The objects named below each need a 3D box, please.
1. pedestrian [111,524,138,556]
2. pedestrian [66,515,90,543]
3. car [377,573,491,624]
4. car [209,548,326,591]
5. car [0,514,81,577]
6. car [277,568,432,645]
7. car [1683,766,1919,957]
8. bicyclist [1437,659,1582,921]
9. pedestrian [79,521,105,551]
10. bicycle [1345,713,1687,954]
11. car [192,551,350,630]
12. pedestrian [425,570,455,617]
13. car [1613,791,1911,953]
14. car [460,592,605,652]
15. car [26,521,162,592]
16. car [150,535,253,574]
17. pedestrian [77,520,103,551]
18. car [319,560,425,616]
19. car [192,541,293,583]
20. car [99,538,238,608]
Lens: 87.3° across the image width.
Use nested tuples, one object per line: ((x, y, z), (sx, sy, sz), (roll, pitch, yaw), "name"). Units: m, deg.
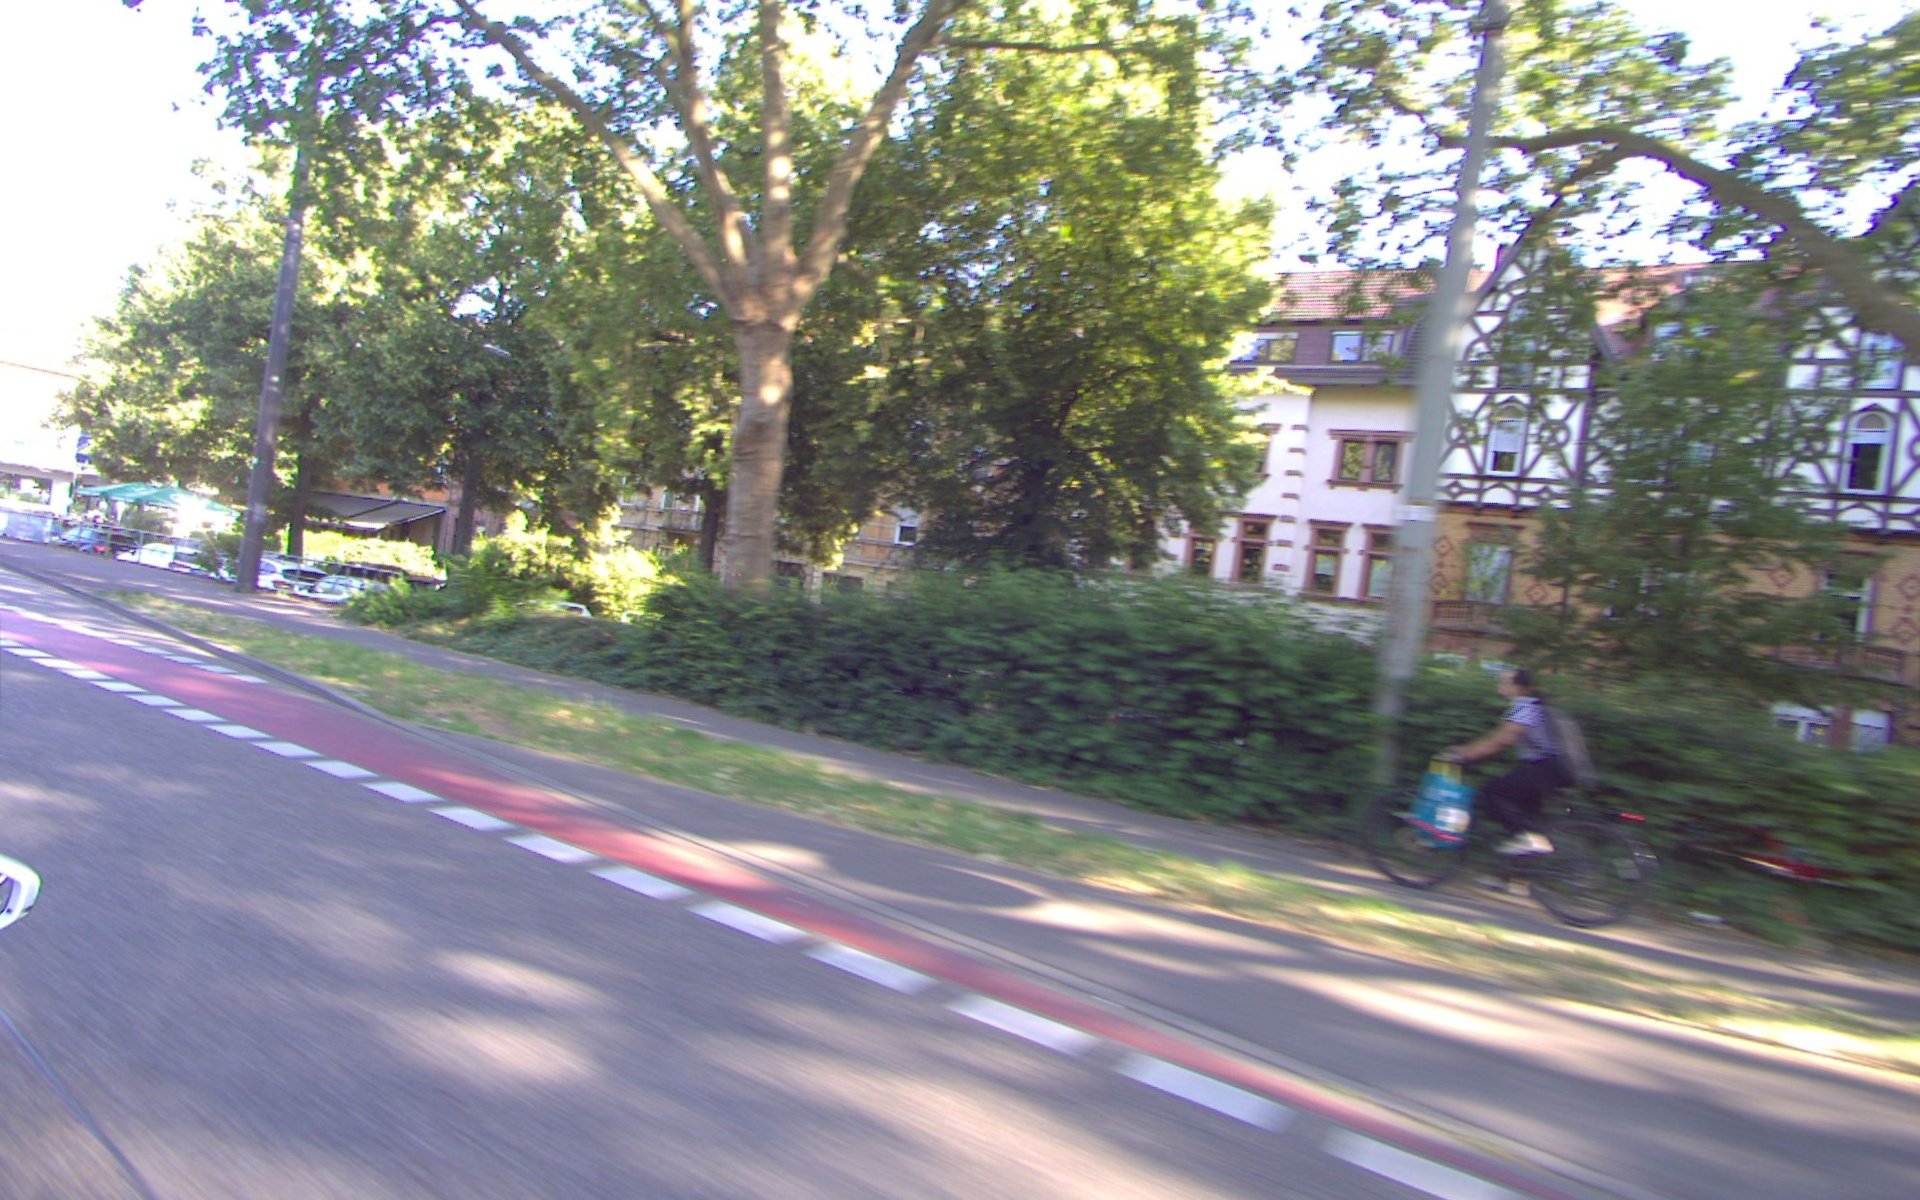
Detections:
((-39.434, -2.825, 47.496), (0.621, 1.352, 0.650), (7, -3, 32), "pedestrian")
((-46.980, -3.762, 53.585), (0.621, 1.352, 0.650), (7, -3, 32), "pedestrian")
((-18.981, -0.036, 36.509), (1.767, 1.532, 4.000), (8, 0, 2), "car")
((-28.586, -1.213, 41.716), (1.929, 1.423, 4.247), (8, 0, -3), "car")
((-34.471, -2.067, 36.940), (4.285, 1.919, 1.799), (6, -2, 29), "car")
((-15.469, 0.153, 25.683), (3.517, 1.457, 1.799), (6, -3, 30), "car")
((9.683, 2.750, 10.192), (3.517, 1.457, 1.799), (6, -3, 30), "car")
((3.643, 1.211, 6.669), (0.639, 1.531, 0.767), (7, 0, 31), "bicyclist")
((-43.462, -3.224, 50.395), (0.621, 1.352, 0.650), (7, -3, 32), "pedestrian")
((3.615, 1.451, 6.663), (1.770, 1.121, 0.767), (7, -1, 31), "bicycle")
((-19.188, -0.281, 27.964), (4.478, 1.596, 1.798), (6, -3, 31), "car")
((-20.894, -0.254, 40.408), (0.621, 1.767, 0.650), (7, 0, 27), "pedestrian")
((13.646, 4.565, 17.484), (1.767, 1.529, 3.999), (8, 0, 0), "car")
((-13.820, 0.758, 32.735), (1.769, 1.532, 3.994), (8, 0, 29), "car")
((-29.438, -1.472, 34.192), (4.136, 1.823, 1.801), (6, -2, 25), "car")
((-33.953, -1.989, 45.179), (1.748, 1.364, 3.996), (8, 0, -5), "car")
((-42.868, -3.184, 49.590), (0.621, 1.352, 0.650), (7, -3, 32), "pedestrian")
((-21.974, -0.439, 37.803), (1.769, 1.756, 3.995), (8, 0, -6), "car")
((-31.253, -1.617, 43.952), (1.769, 1.498, 3.994), (8, 0, -7), "car")
((-24.307, -0.827, 30.870), (4.369, 1.596, 1.798), (6, -3, 31), "car")
